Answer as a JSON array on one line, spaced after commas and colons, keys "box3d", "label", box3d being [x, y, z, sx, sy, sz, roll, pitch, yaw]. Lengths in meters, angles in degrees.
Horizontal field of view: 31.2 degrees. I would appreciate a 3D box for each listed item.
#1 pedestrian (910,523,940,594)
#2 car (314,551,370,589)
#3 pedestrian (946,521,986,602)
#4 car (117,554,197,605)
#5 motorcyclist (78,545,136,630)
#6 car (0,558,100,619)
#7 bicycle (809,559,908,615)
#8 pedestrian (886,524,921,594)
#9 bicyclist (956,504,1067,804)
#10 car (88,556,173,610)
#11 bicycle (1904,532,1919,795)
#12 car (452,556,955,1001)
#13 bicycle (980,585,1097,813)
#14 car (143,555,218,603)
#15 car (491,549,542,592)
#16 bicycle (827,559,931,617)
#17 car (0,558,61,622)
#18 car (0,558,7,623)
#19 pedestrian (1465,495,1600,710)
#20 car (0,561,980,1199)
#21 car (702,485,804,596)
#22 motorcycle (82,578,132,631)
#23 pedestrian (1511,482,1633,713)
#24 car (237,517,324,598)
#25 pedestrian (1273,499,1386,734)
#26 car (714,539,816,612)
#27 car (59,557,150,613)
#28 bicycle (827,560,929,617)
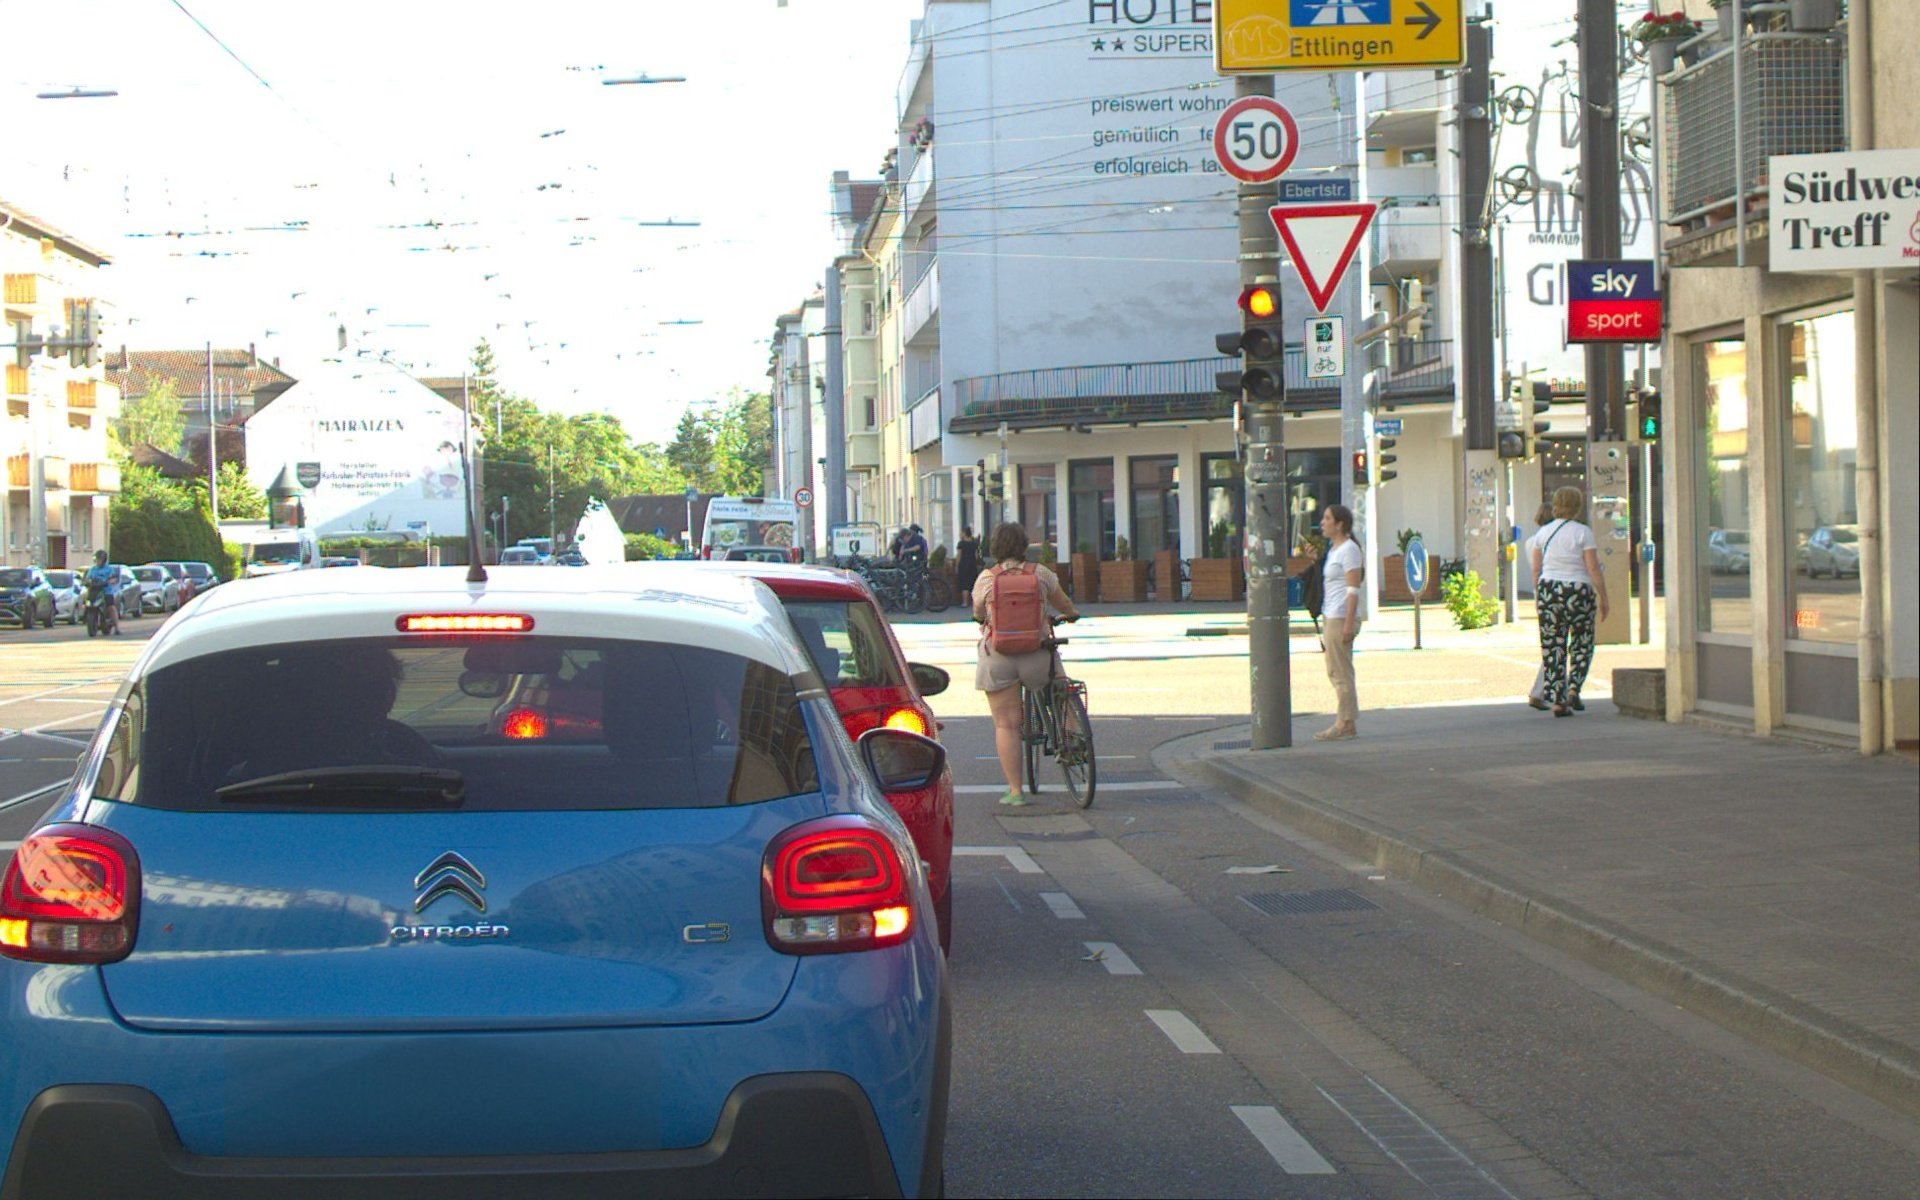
[{"box3d": [-0.712, -0.845, 69.993, 0.467, 1.415, 0.527, -1, 1, -13], "label": "pedestrian"}, {"box3d": [-25.969, -1.270, 144.555, 1.950, 1.514, 4.001, -1, 1, -6], "label": "car"}, {"box3d": [0.120, -0.788, 70.118, 0.553, 1.642, 0.538, -2, 1, -44], "label": "pedestrian"}, {"box3d": [-25.351, -0.664, 108.643, 1.950, 1.514, 4.001, -1, 1, -6], "label": "car"}, {"box3d": [-16.667, -0.247, 67.199, 0.991, 1.625, 0.739, -1, 1, -9], "label": "motorcyclist"}, {"box3d": [-24.298, -0.328, 91.933, 1.950, 1.514, 4.001, -1, 1, -6], "label": "car"}, {"box3d": [-2.018, -0.271, 68.299, 1.904, 1.061, 0.642, -1, 1, -7], "label": "bicycle"}, {"box3d": [-1.145, -0.842, 70.244, 0.525, 1.415, 0.546, -1, 1, 20], "label": "pedestrian"}, {"box3d": [0.298, 0.305, 20.586, 0.600, 1.740, 1.084, -1, 1, -1], "label": "bicyclist"}, {"box3d": [-24.918, -0.534, 103.364, 1.950, 1.514, 4.001, -1, 1, -6], "label": "car"}, {"box3d": [4.922, 0.313, 15.739, 0.640, 1.260, 1.911, -1, 1, -1], "label": "bicycle"}, {"box3d": [-0.998, 0.579, 13.571, 1.680, 1.457, 4.001, 0, 1, -4], "label": "car"}, {"box3d": [0.456, 0.561, 20.628, 0.613, 1.260, 1.911, -1, 1, -1], "label": "bicycle"}, {"box3d": [-26.061, -0.713, 114.985, 1.950, 1.514, 4.001, -1, 1, -6], "label": "car"}, {"box3d": [-22.037, -1.490, 170.827, 2.338, 2.032, 5.051, -1, 1, -6], "label": "car"}, {"box3d": [-1.550, -0.239, 65.801, 1.904, 1.061, 0.642, -1, 1, -7], "label": "bicycle"}, {"box3d": [-23.778, -0.260, 85.876, 1.950, 1.514, 4.001, -1, 1, -6], "label": "car"}, {"box3d": [-23.313, -0.187, 79.211, 1.950, 1.514, 4.001, -1, 1, -6], "label": "car"}, {"box3d": [4.473, 0.012, 26.876, 0.700, 1.642, 0.740, -2, 1, -36], "label": "pedestrian"}, {"box3d": [-0.951, 0.670, 7.361, 1.680, 1.457, 4.001, 0, 1, -4], "label": "car"}, {"box3d": [-4.424, -1.273, 73.227, 2.079, 2.262, 5.652, 0, 1, -4], "label": "car"}, {"box3d": [-16.686, 0.078, 67.273, 0.751, 0.973, 2.098, -1, 1, -9], "label": "motorcycle"}, {"box3d": [4.450, -0.024, 24.966, 0.738, 1.642, 0.753, -1, 1, 19], "label": "pedestrian"}, {"box3d": [-23.654, -1.495, 119.922, 2.493, 2.703, 5.839, -1, 1, -7], "label": "car"}, {"box3d": [2.616, 0.108, 24.361, 0.751, 1.629, 0.740, -1, 1, 6], "label": "pedestrian"}, {"box3d": [-3.874, -0.512, 67.791, 1.786, 1.354, 3.915, -1, 1, -6], "label": "car"}, {"box3d": [-24.451, -0.450, 98.360, 1.950, 1.514, 4.001, -1, 1, -6], "label": "car"}, {"box3d": [-1.599, -0.233, 67.107, 1.904, 1.061, 0.642, -1, 1, -7], "label": "bicycle"}]
